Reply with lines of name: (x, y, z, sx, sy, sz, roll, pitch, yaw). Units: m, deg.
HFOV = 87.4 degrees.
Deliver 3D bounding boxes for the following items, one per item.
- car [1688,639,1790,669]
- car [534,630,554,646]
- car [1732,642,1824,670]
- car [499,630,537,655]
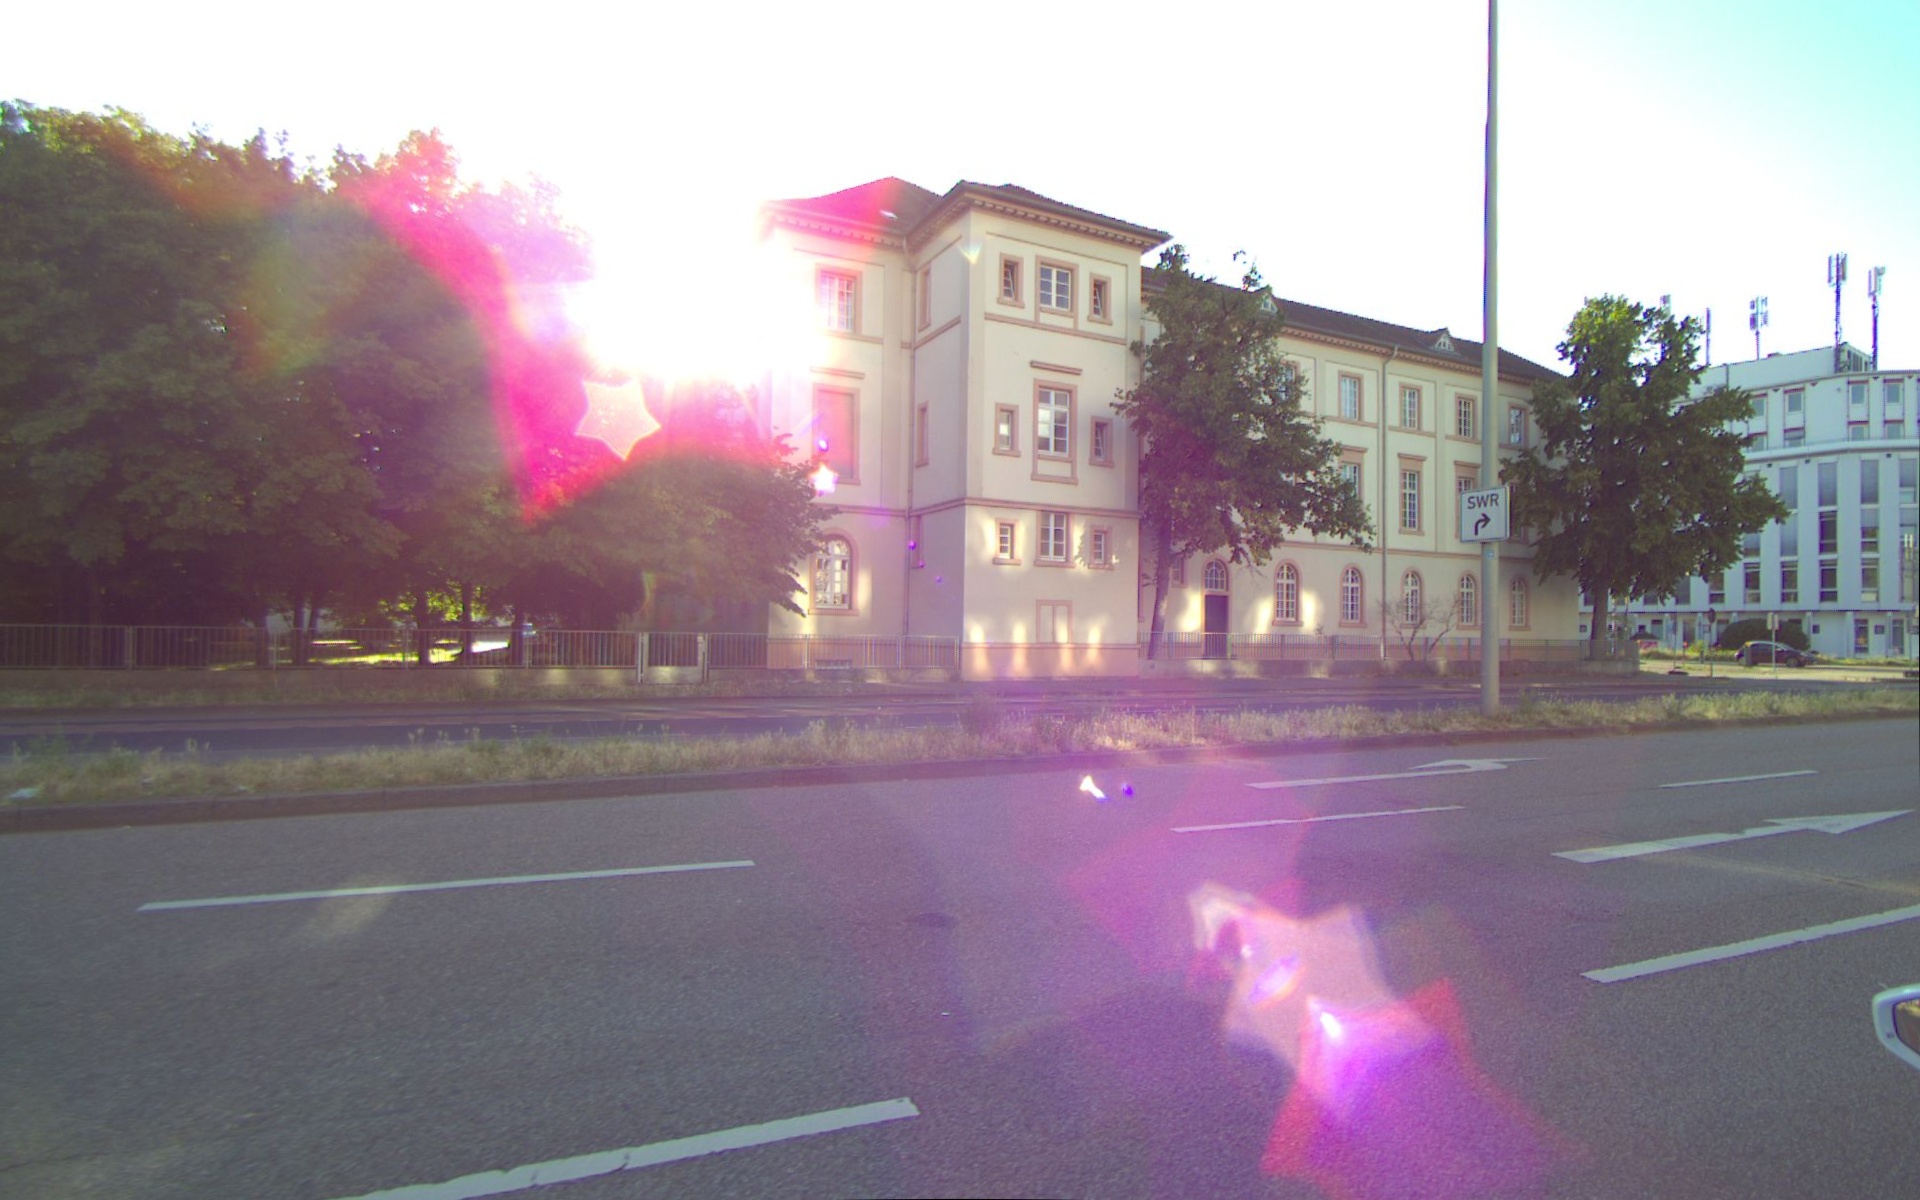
car: (45.556, 3.143, 58.867, 1.972, 1.650, 4.335, 2, -2, -24)
car: (-32.253, 2.933, 77.798, 1.330, 1.170, 3.085, 1, -2, -24)
car: (48.177, 3.295, 59.236, 1.842, 1.549, 3.790, 4, -5, -31)
car: (-27.505, 2.619, 62.464, 1.974, 1.541, 3.662, 2, -2, -27)
